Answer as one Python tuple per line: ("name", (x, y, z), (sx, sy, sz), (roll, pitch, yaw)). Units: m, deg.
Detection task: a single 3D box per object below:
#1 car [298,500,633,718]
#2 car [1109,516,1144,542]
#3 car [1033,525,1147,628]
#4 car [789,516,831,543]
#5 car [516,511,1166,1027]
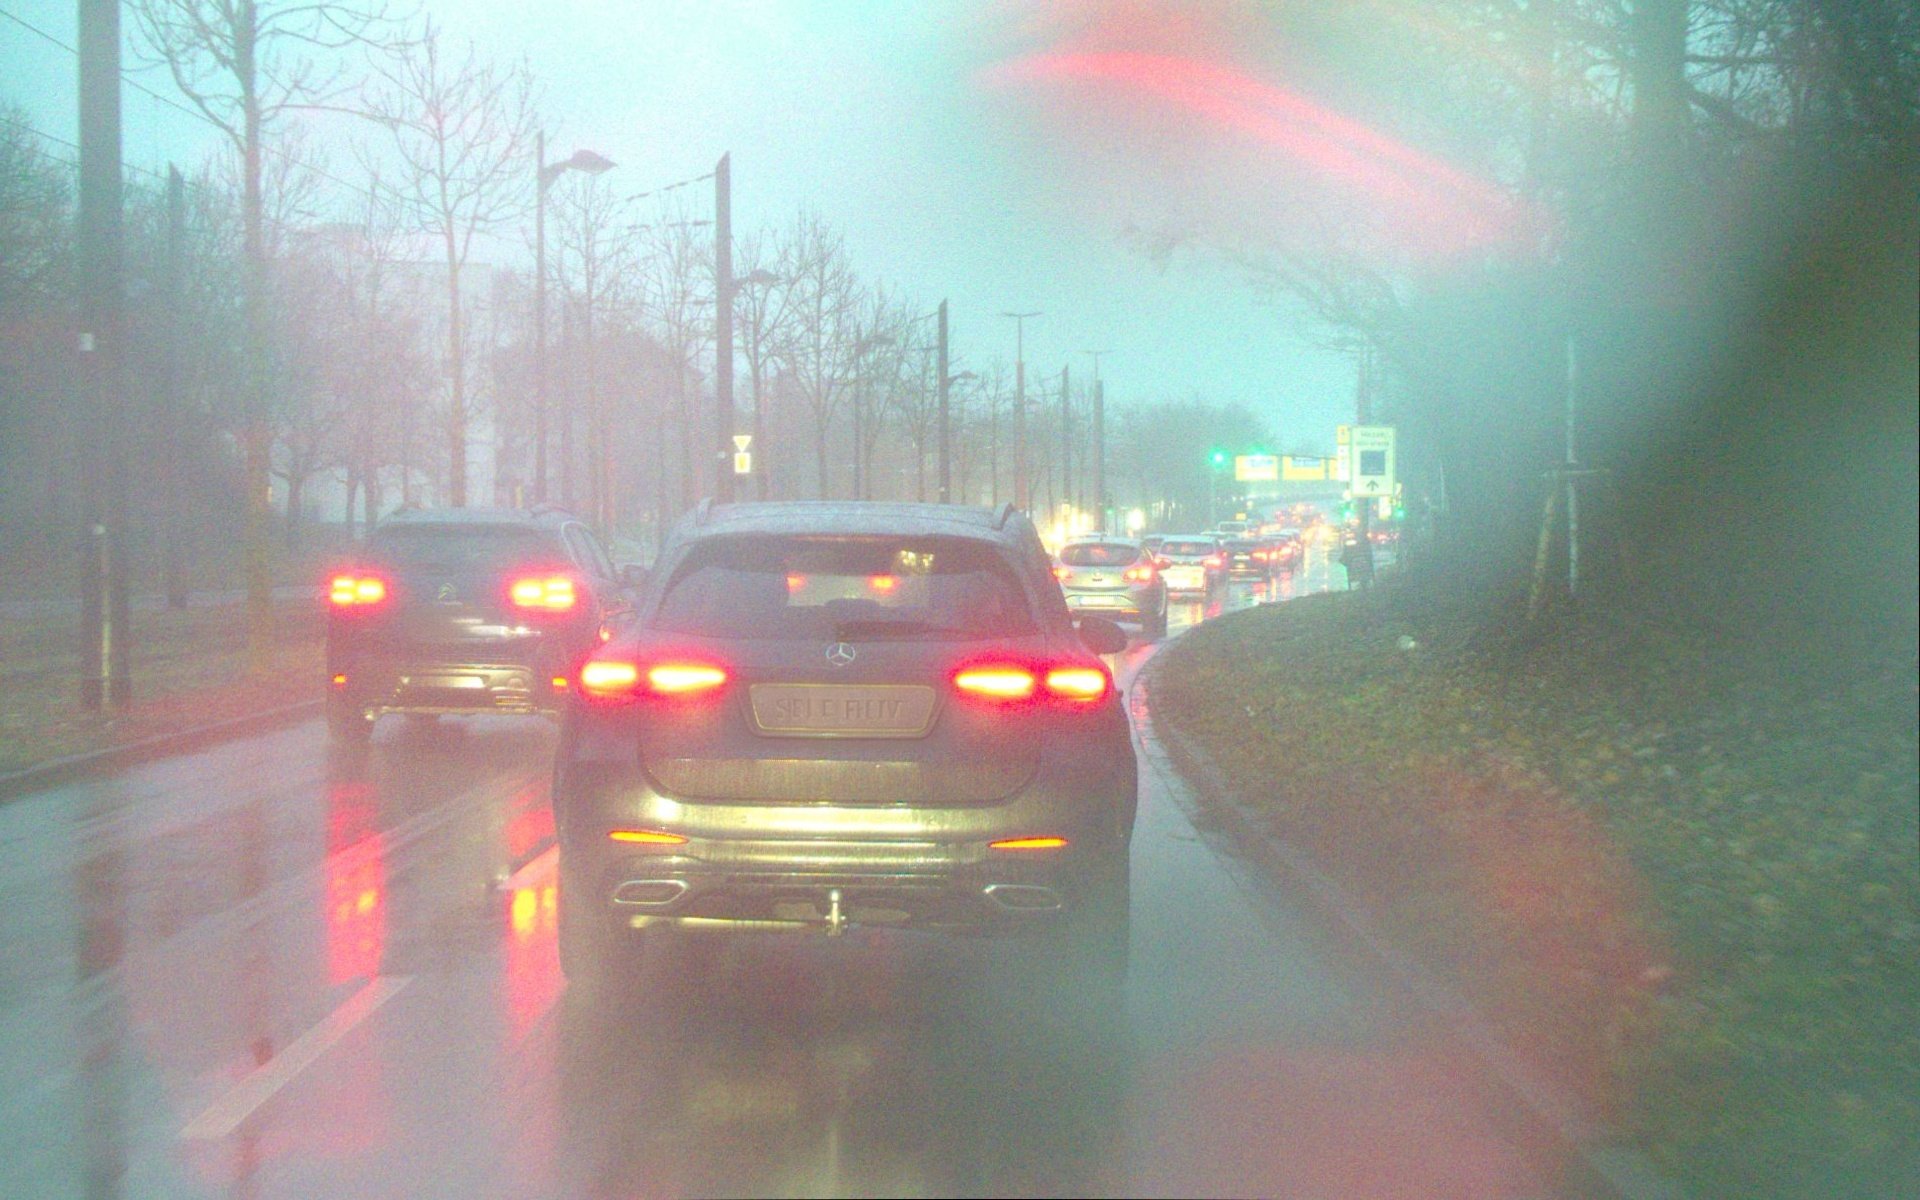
("car", (-3.506, 0.002, 25.049), (1.880, 1.454, 4.000), (0, 2, 0))
("car", (10.741, -4.594, 221.921), (1.994, 1.660, 3.835), (-1, 1, 7))
("car", (2.017, -0.393, 53.869), (1.708, 1.552, 3.996), (0, 1, 2))
("car", (-9.380, -4.396, 215.108), (1.994, 1.652, 3.999), (1, 1, 7))
("car", (-0.381, 0.473, 12.613), (1.998, 1.578, 4.000), (0, 1, 0))
